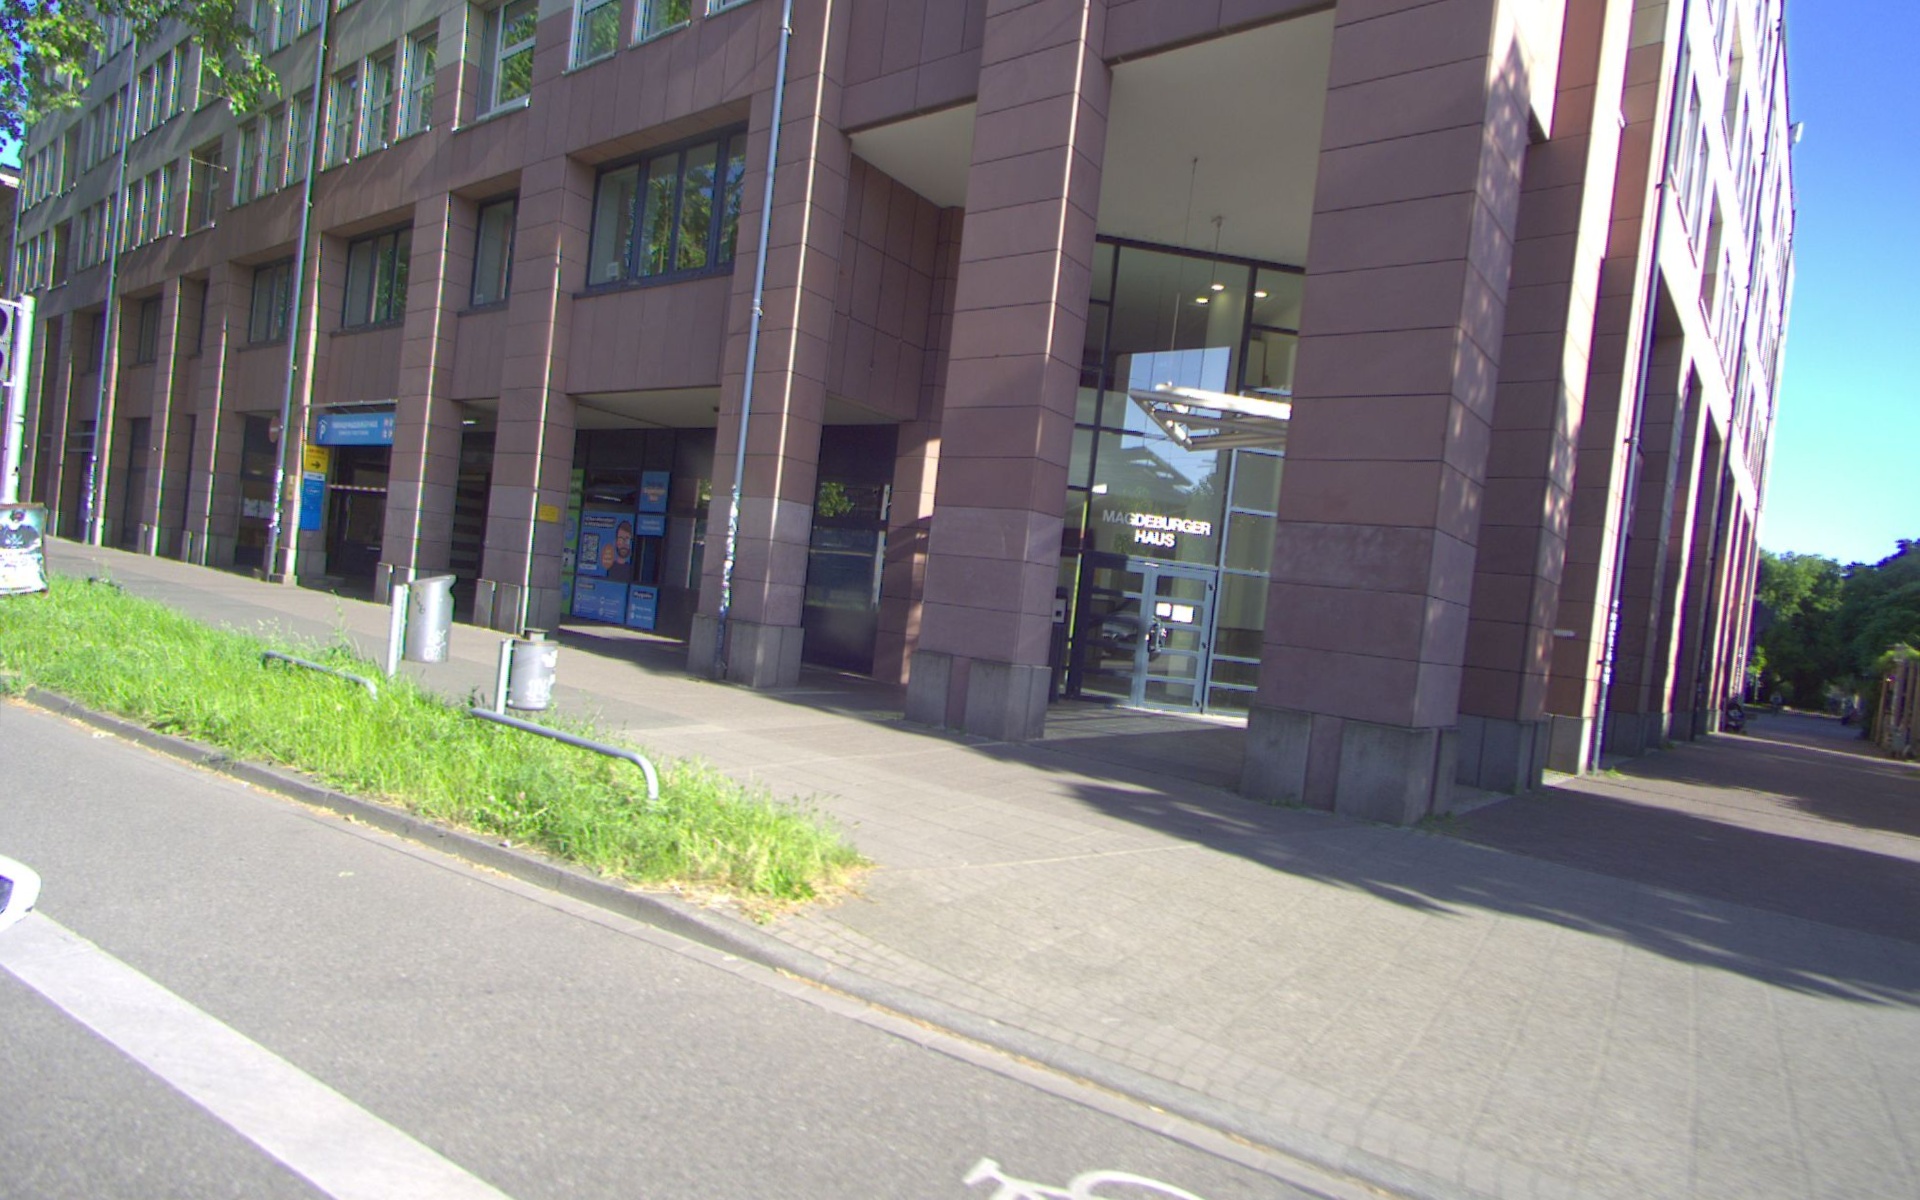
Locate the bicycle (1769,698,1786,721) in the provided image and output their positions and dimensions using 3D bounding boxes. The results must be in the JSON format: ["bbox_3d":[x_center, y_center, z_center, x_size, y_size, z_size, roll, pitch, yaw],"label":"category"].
[{"bbox_3d":[55.051,7.378,67.760,0.707,1.330,2.883,6,-3,41],"label":"bicycle"}]

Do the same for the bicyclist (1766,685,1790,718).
[{"bbox_3d":[55.123,6.841,67.809,1.031,1.994,1.552,6,-2,43],"label":"bicyclist"}]
